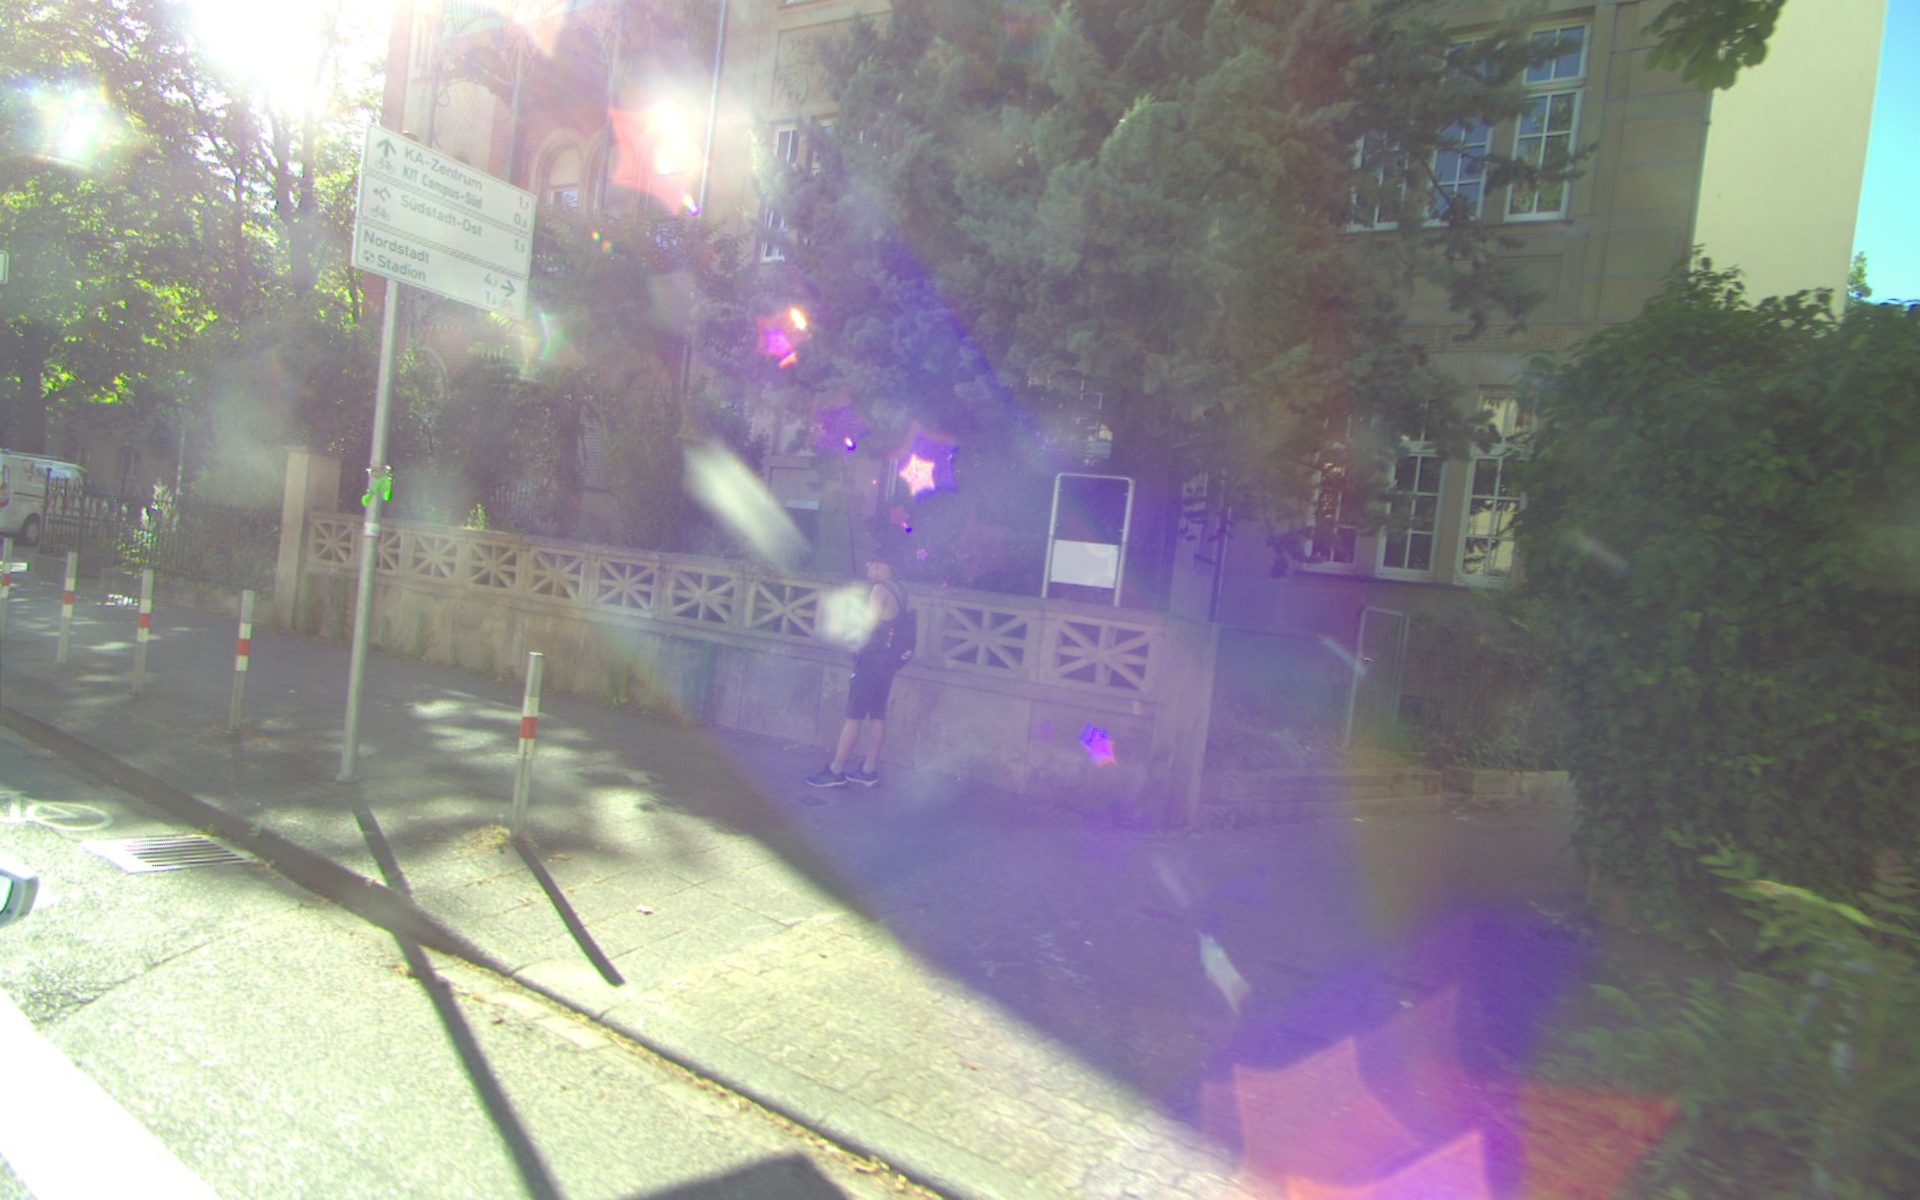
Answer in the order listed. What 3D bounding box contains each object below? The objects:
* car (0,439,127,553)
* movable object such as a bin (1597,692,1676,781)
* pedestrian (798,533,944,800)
[{"bbox_3d":[-21.681,-2.400,23.085,2.094,2.235,4.926,7,-1,-18],"label":"car"},{"bbox_3d":[8.376,1.668,12.489,0.637,0.966,0.835,7,0,28],"label":"movable object such as a bin"},{"bbox_3d":[-0.605,0.429,6.897,0.636,1.694,0.592,7,3,29],"label":"pedestrian"}]
